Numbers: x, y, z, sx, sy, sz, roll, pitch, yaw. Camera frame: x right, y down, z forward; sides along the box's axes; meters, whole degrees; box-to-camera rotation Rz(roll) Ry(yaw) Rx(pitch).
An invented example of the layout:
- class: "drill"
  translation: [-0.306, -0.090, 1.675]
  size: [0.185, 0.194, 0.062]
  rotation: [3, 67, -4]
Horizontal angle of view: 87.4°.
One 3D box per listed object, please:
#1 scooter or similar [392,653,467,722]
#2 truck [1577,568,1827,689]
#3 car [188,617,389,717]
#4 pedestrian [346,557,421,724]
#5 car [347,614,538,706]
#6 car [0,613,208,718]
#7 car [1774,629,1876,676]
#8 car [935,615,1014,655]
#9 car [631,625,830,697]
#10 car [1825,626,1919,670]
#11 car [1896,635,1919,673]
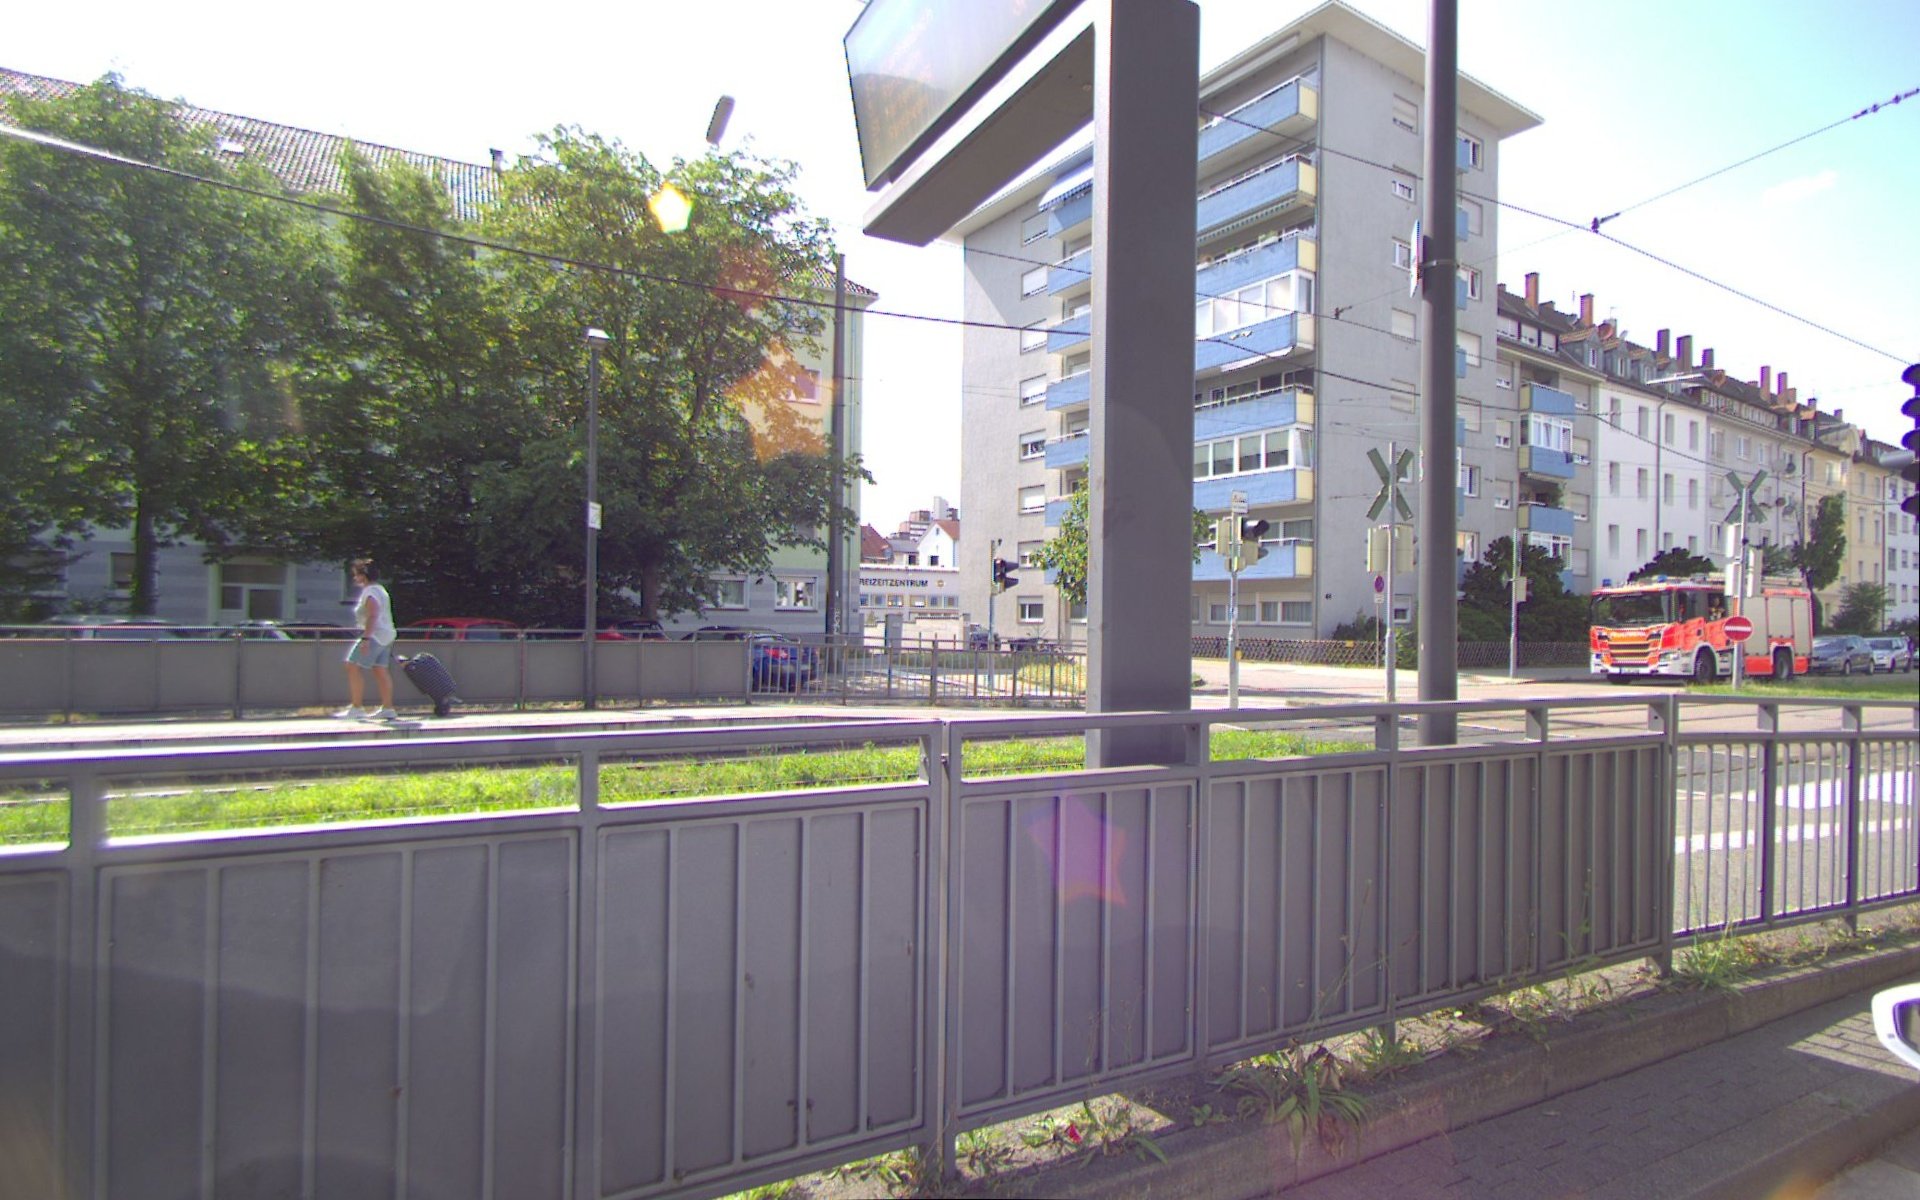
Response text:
- class: "scooter or similar"
  translation: [-5.763, 0.939, 10.918]
  size: [0.692, 0.708, 0.440]
  rotation: [1, -1, -29]
- class: "truck"
  translation: [22.159, 0.874, 29.864]
  size: [8.277, 3.228, 2.586]
  rotation: [2, 0, -28]
- class: "car"
  translation: [-12.057, 1.119, 17.999]
  size: [3.603, 1.600, 1.645]
  rotation: [0, -1, 32]
- class: "pedestrian"
  translation: [-6.030, 0.417, 10.537]
  size: [0.624, 1.686, 0.657]
  rotation: [1, -1, -29]
- class: "car"
  translation: [-9.981, 1.084, 19.323]
  size: [3.603, 1.600, 1.645]
  rotation: [0, -1, 32]
- class: "car"
  translation: [-14.203, 0.998, 16.555]
  size: [3.959, 1.534, 1.605]
  rotation: [0, -1, 33]
- class: "car"
  translation: [34.275, 2.061, 39.789]
  size: [3.956, 1.667, 1.982]
  rotation: [2, 0, -32]
- class: "car"
  translation: [0.648, 1.634, 47.546]
  size: [1.976, 1.706, 3.968]
  rotation: [2, 0, -30]
- class: "car"
  translation: [-4.984, 1.273, 21.809]
  size: [4.055, 1.413, 1.608]
  rotation: [0, -1, 24]
- class: "car"
  translation: [39.260, 2.062, 43.225]
  size: [3.956, 1.734, 1.982]
  rotation: [2, 0, -32]
- class: "car"
  translation: [47.369, 2.647, 48.781]
  size: [3.960, 1.734, 1.981]
  rotation: [2, 0, -35]
